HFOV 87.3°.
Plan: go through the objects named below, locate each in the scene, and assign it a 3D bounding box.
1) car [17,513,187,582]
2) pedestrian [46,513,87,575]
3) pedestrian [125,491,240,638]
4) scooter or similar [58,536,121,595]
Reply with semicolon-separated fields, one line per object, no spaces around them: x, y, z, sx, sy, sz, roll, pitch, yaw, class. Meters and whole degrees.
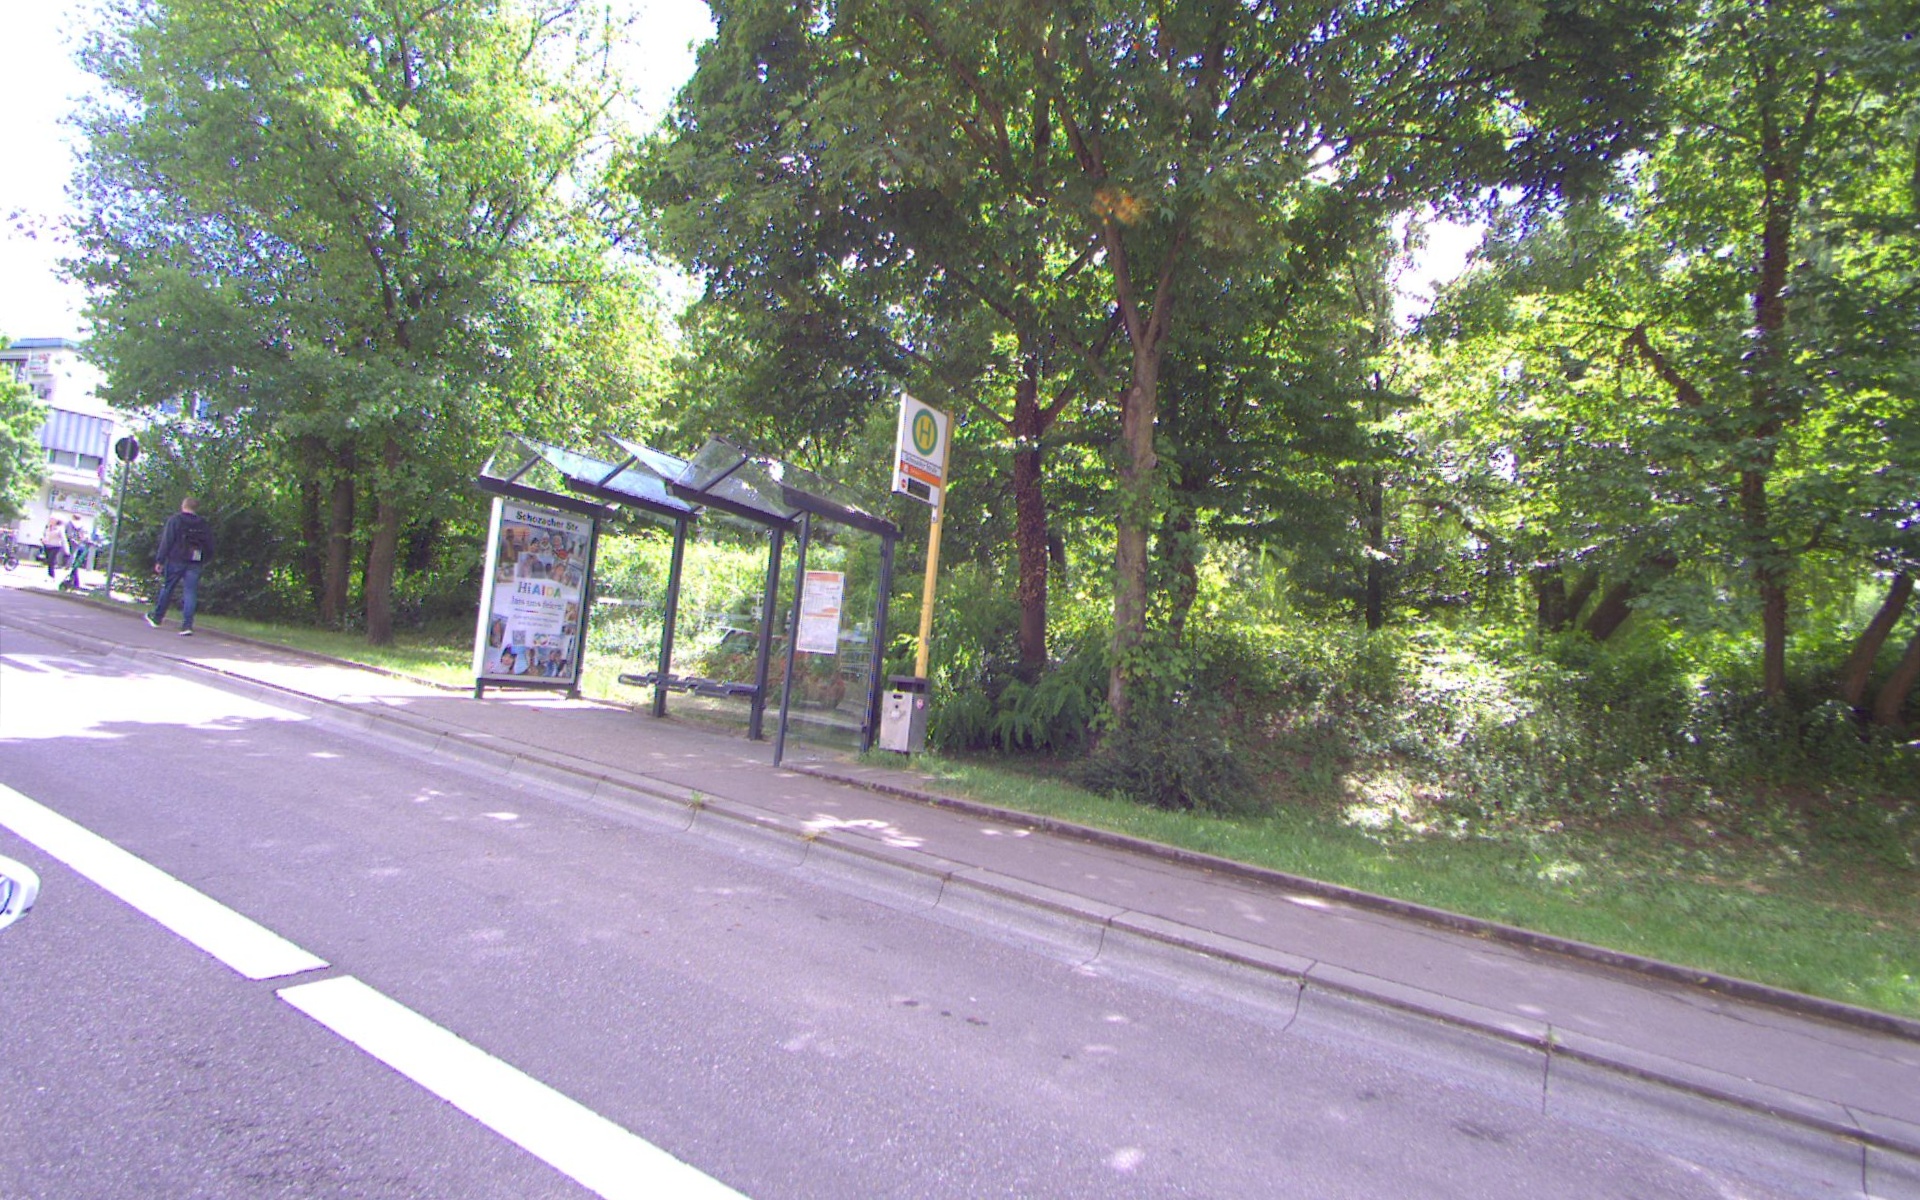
-33.440;-1.980;39.372;1.964;2.038;4.549;6;-1;24;car
-26.781;-1.670;30.151;0.652;1.733;0.458;8;-1;-29;pedestrian
-10.935;-0.495;14.154;0.996;1.898;0.797;6;-1;32;pedestrian
-20.210;-0.796;23.367;0.447;1.244;0.892;6;-2;30;scooter or similar
